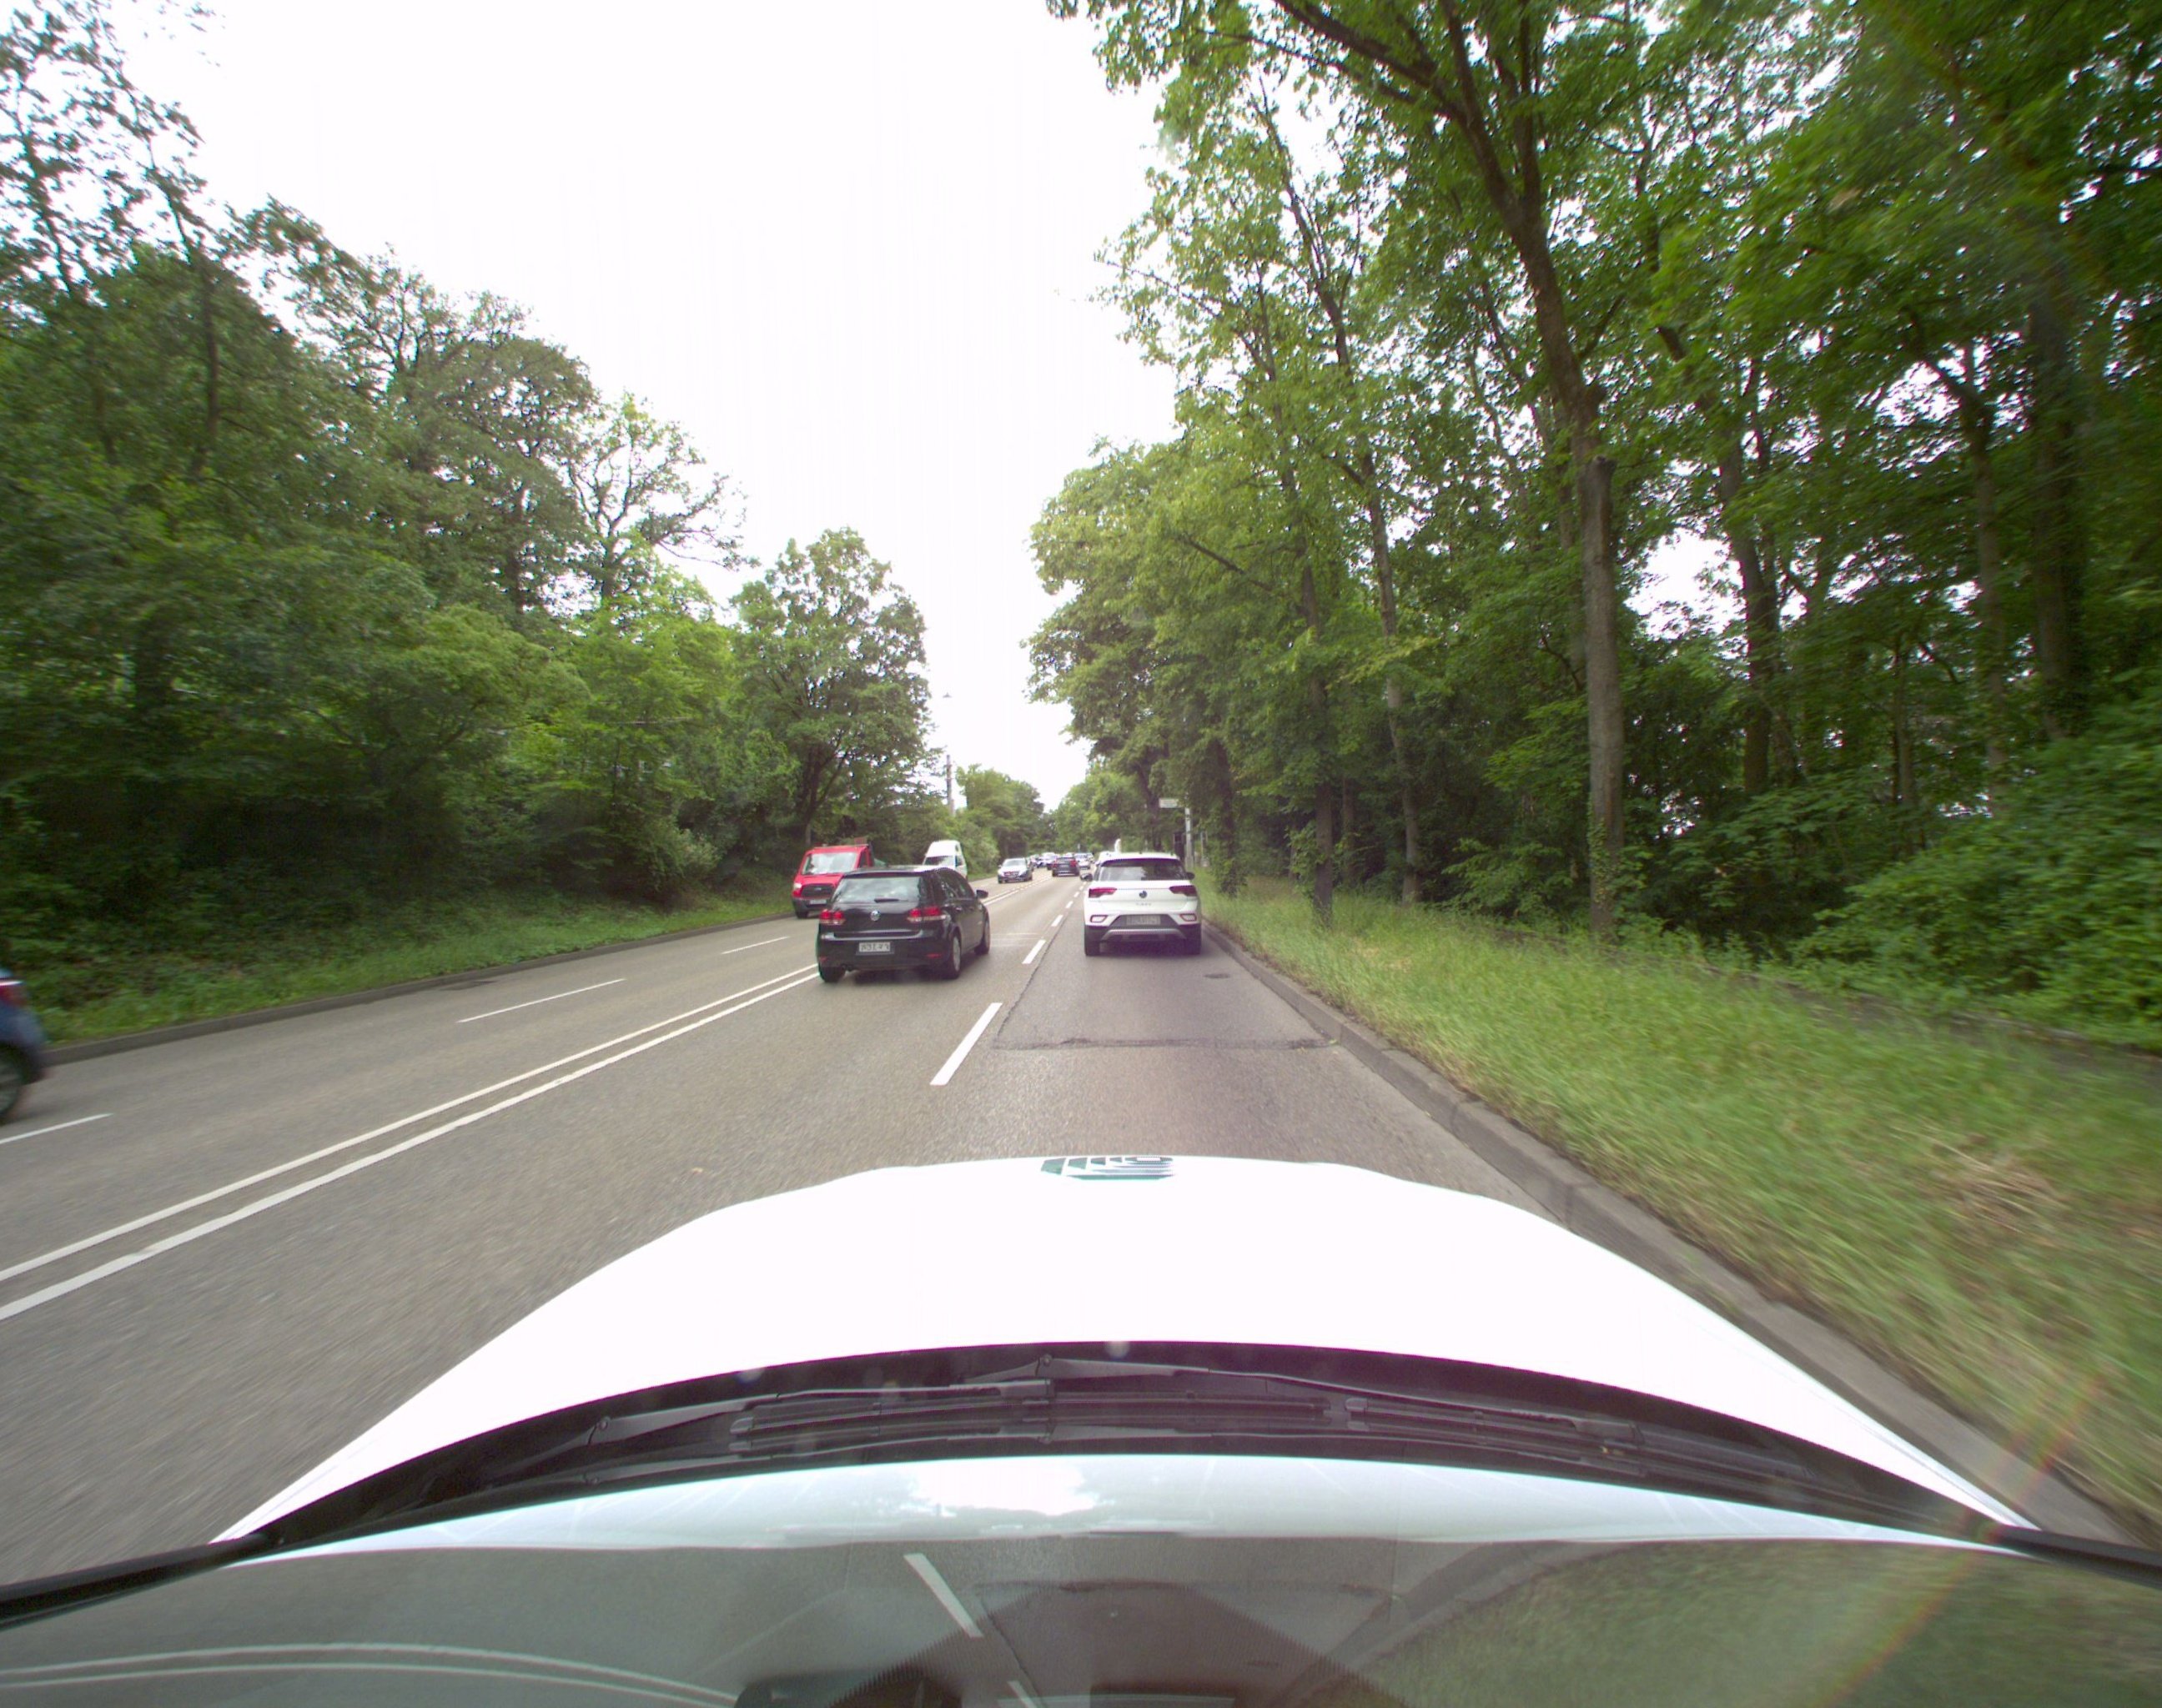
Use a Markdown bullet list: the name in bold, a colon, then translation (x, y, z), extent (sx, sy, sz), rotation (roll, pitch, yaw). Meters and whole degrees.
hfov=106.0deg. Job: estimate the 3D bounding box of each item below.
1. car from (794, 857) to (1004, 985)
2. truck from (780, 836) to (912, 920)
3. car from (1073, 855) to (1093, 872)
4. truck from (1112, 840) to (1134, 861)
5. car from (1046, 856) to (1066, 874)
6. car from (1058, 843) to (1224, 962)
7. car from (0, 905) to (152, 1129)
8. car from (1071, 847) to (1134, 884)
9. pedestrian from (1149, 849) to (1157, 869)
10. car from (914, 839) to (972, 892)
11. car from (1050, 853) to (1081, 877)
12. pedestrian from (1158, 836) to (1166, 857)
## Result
- **car**: translation (-2.330, 0.802, 11.583), extent (1.942, 1.466, 4.001), rotation (-1, 0, 2)
- **truck**: translation (-7.655, 0.739, 27.422), extent (2.167, 2.411, 6.471), rotation (-2, -1, 3)
- **car**: translation (0.251, 0.917, 80.864), extent (1.815, 1.623, 4.001), rotation (-1, 0, 2)
- **truck**: translation (6.502, -0.525, 127.100), extent (2.477, 3.182, 7.219), rotation (-1, 0, -3)
- **car**: translation (-2.727, 1.192, 89.460), extent (1.803, 1.662, 4.831), rotation (-3, -4, 2)
- **car**: translation (0.790, 0.686, 13.288), extent (1.998, 1.596, 3.991), rotation (-1, 0, -6)
- **car**: translation (-8.262, 1.178, 4.453), extent (1.664, 1.486, 4.000), rotation (-3, -1, 1)
- **car**: translation (1.084, 0.603, 42.447), extent (1.858, 1.702, 3.973), rotation (-5, 1, -20)
- **pedestrian**: translation (6.015, 0.433, 68.274), extent (0.607, 1.698, 0.548), rotation (-1, -1, -2)
- **car**: translation (-7.216, 0.580, 43.140), extent (1.880, 2.555, 4.917), rotation (-4, -1, 2)
- **car**: translation (-1.055, 0.786, 58.418), extent (1.986, 1.592, 4.001), rotation (-1, 0, 2)
- **pedestrian**: translation (6.838, -0.650, 68.652), extent (0.518, 1.753, 0.524), rotation (-1, -1, -2)
